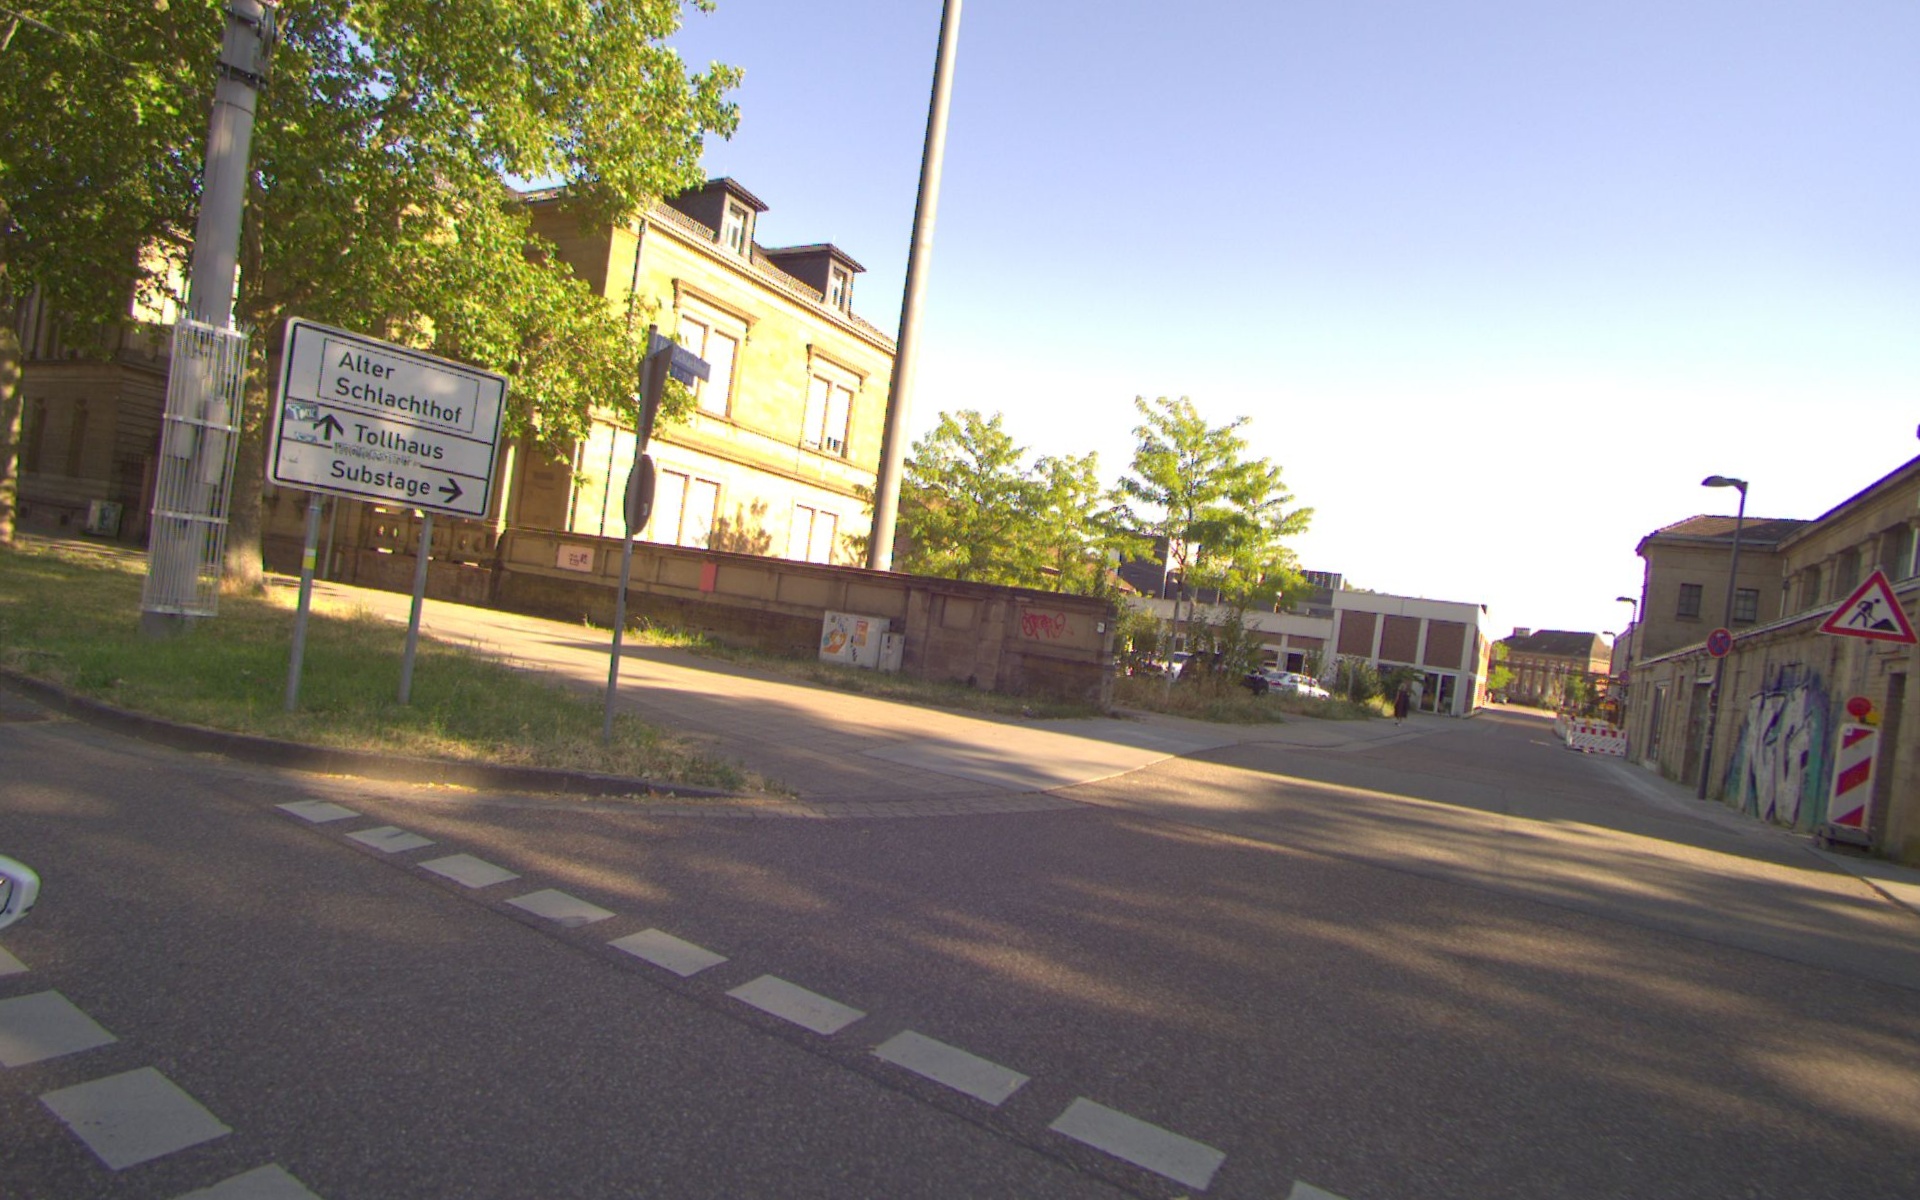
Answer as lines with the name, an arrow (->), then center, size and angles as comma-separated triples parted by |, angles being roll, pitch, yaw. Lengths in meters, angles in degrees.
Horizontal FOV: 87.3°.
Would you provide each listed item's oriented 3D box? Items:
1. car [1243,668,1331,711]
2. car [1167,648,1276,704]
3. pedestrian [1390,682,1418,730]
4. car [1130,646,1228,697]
car -> 15.624, 4.272, 48.042 | 3.963, 1.527, 1.785 | 9, -2, -33
car -> 9.262, 2.705, 35.479 | 3.978, 1.527, 1.778 | 9, -2, -44
pedestrian -> 16.853, 4.033, 38.206 | 0.778, 1.647, 1.079 | 5, -6, 19
car -> 8.748, 2.860, 40.049 | 3.978, 1.527, 1.778 | 9, -2, -44
